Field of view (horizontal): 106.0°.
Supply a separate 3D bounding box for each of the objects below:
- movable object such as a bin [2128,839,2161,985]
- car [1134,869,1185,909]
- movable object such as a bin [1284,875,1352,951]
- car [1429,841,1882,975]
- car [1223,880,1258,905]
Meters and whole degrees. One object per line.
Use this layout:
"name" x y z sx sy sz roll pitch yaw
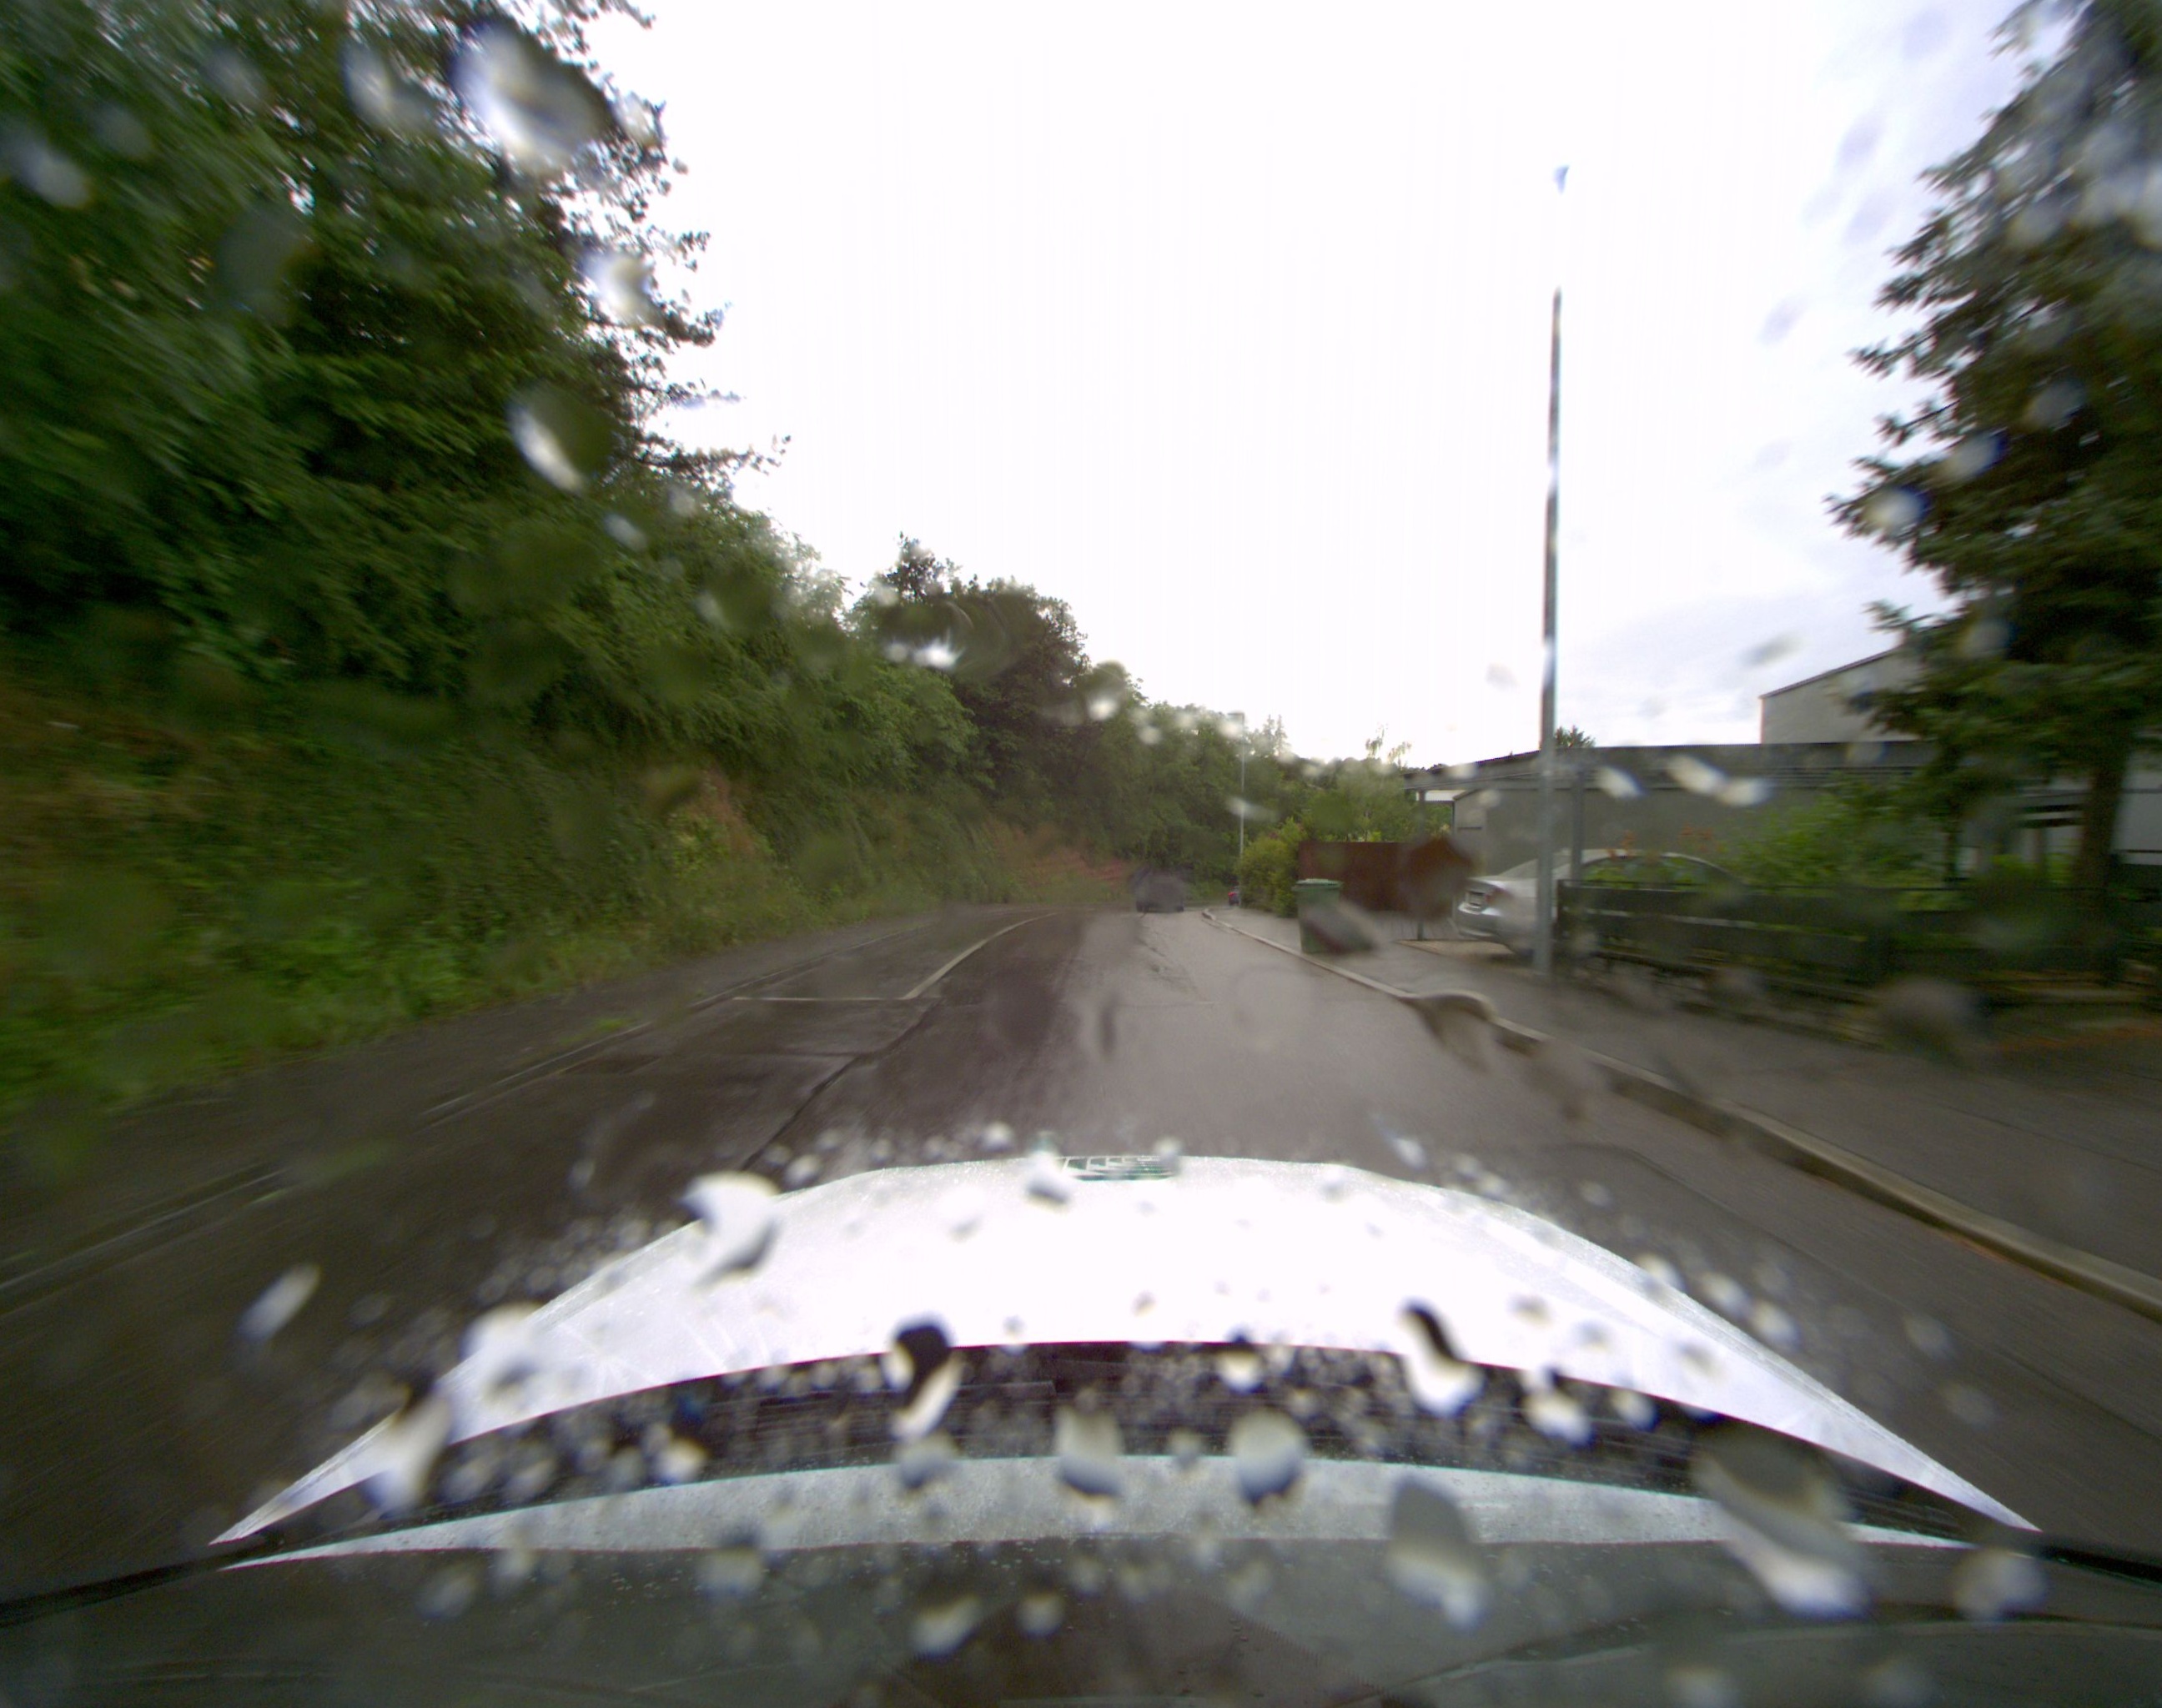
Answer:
"movable object such as a bin" 8.153 0.442 5.630 0.792 1.040 0.778 3 1 -6
"car" 3.306 1.464 33.735 1.858 1.513 4.101 1 -3 9
"movable object such as a bin" 3.672 0.898 12.646 0.787 1.096 0.675 -4 -1 0
"car" 6.788 0.597 10.132 4.191 1.415 1.946 1 -1 9
"car" 12.524 3.006 63.815 1.977 1.605 4.432 1 1 20
